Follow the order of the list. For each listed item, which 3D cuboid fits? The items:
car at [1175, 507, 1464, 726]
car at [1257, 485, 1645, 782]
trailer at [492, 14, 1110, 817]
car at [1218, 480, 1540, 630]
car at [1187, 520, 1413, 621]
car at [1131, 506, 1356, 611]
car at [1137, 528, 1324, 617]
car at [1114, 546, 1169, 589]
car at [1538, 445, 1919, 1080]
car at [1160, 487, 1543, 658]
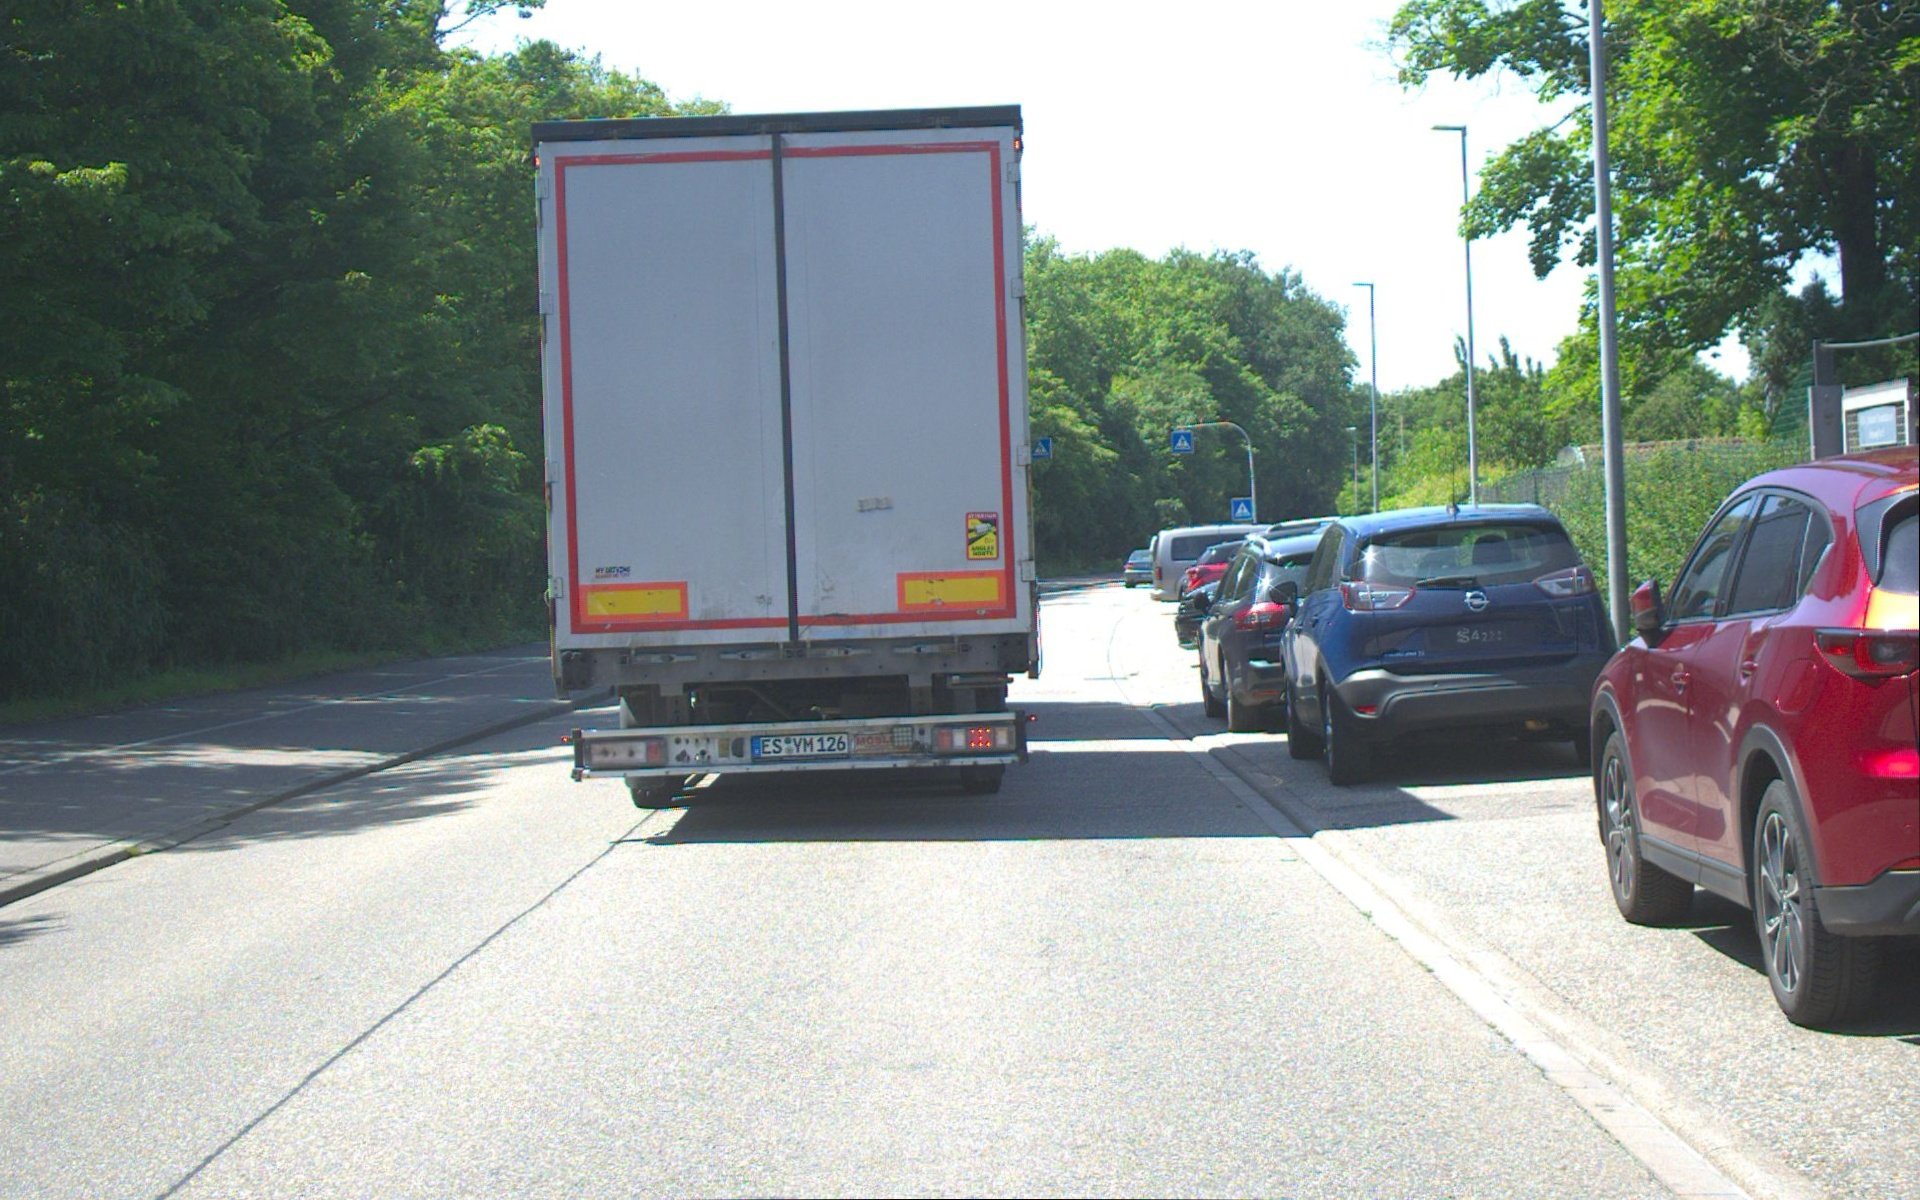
[{"bbox_3d":[2.819,0.081,27.893,1.789,1.477,4.665,-5,1,1],"label":"car"},{"bbox_3d":[2.960,0.138,21.520,1.789,1.598,4.130,-3,1,0],"label":"car"},{"bbox_3d":[-0.932,-1.052,23.527,3.112,4.088,11.537,-1,1,-1],"label":"trailer"},{"bbox_3d":[5.822,-0.640,48.196,4.258,1.692,1.853,-5,1,4],"label":"car"},{"bbox_3d":[6.159,-0.545,62.565,3.920,1.473,1.845,-5,1,4],"label":"car"},{"bbox_3d":[6.117,-0.900,74.311,4.622,1.842,1.995,-5,1,5],"label":"car"},{"bbox_3d":[5.570,-0.577,71.100,3.575,1.497,1.842,-5,1,-1],"label":"car"},{"bbox_3d":[6.670,-1.204,125.937,1.781,1.481,3.999,-1,1,6],"label":"car"},{"bbox_3d":[3.207,0.324,11.282,1.789,1.652,4.452,-5,1,1],"label":"car"},{"bbox_3d":[4.849,-0.351,43.055,4.470,1.698,1.914,-5,1,1],"label":"car"}]
